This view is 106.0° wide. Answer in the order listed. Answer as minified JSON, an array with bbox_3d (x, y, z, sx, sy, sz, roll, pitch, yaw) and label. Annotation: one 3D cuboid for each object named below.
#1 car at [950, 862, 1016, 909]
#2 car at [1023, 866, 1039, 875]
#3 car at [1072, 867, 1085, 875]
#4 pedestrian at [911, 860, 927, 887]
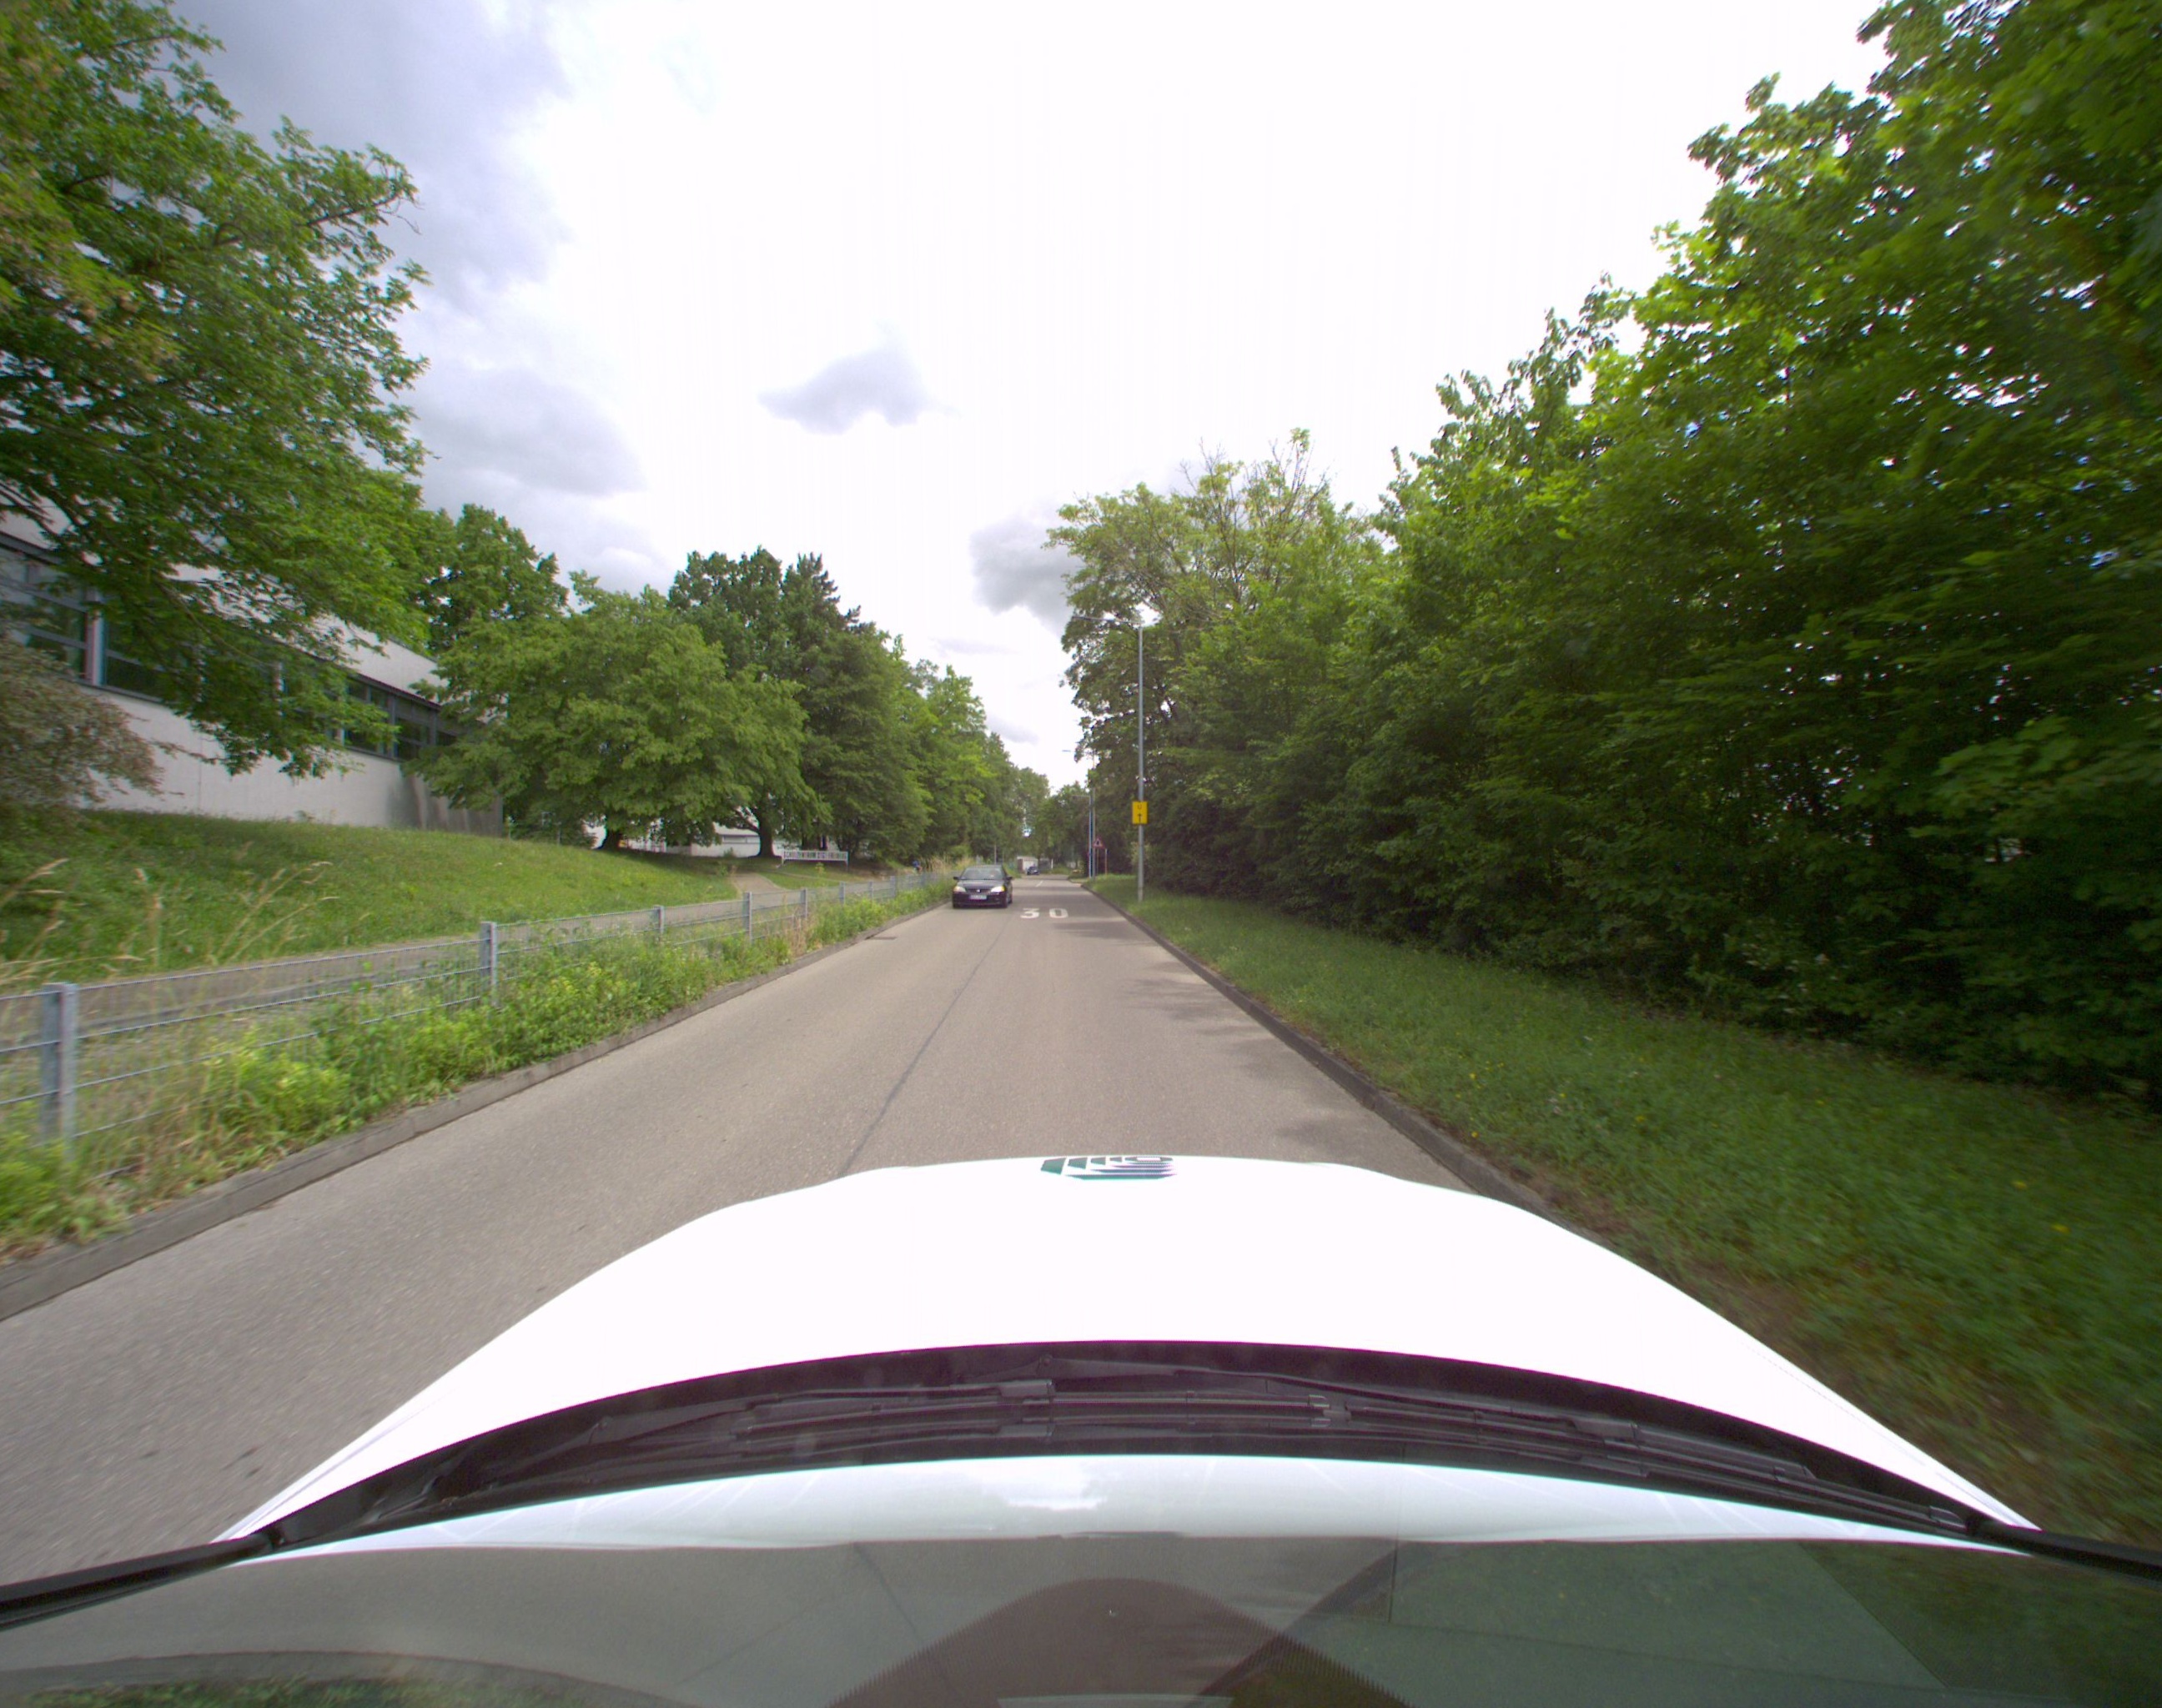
[{"bbox_3d":[-3.105,0.971,26.599,1.688,1.349,4.093,-1,0,-1],"label":"car"},{"bbox_3d":[-8.100,2.668,133.287,1.969,1.384,4.006,1,-1,5],"label":"car"},{"bbox_3d":[-0.426,3.597,170.966,1.847,1.492,4.012,-3,-3,12],"label":"car"},{"bbox_3d":[-12.431,1.521,62.511,0.867,2.014,0.872,-5,-5,43],"label":"pedestrian"}]
